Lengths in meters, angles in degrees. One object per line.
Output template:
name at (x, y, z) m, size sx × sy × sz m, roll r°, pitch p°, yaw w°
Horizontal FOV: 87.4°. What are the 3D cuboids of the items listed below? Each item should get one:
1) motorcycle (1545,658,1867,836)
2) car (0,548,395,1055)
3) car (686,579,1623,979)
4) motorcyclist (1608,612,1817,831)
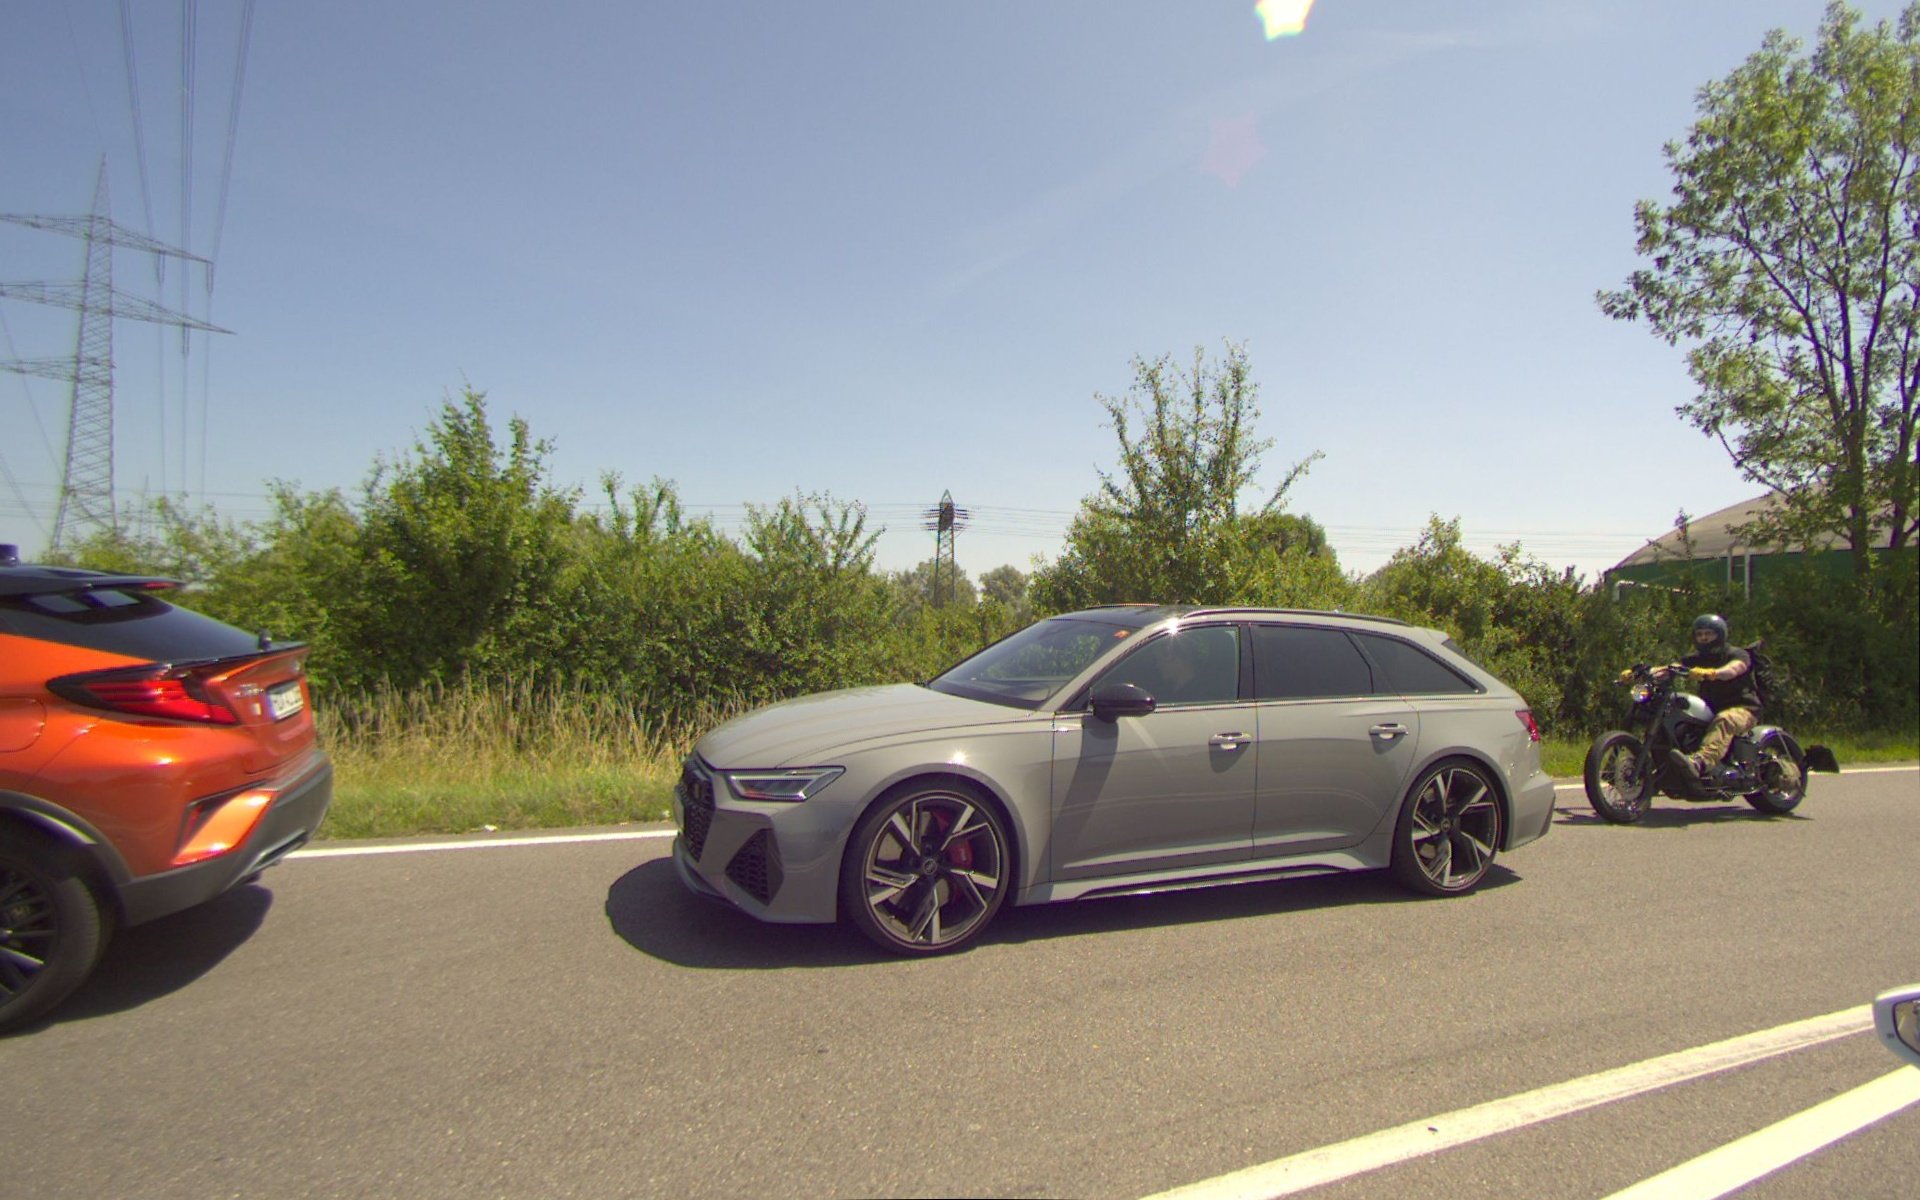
motorcycle at (5.605, 1.044, 7.529) m, size 2.394 × 1.138 × 0.780 m, roll 2°, pitch 0°, yaw -22°
car at (-4.528, 0.542, 3.354) m, size 4.327 × 1.536 × 1.795 m, roll 2°, pitch 0°, yaw -21°
car at (1.064, 0.755, 5.452) m, size 4.738 × 1.479 × 1.838 m, roll 2°, pitch -1°, yaw -21°
motorcyclist at (5.626, 0.861, 7.529) m, size 1.114 × 1.515 × 0.779 m, roll 2°, pitch -1°, yaw -21°
